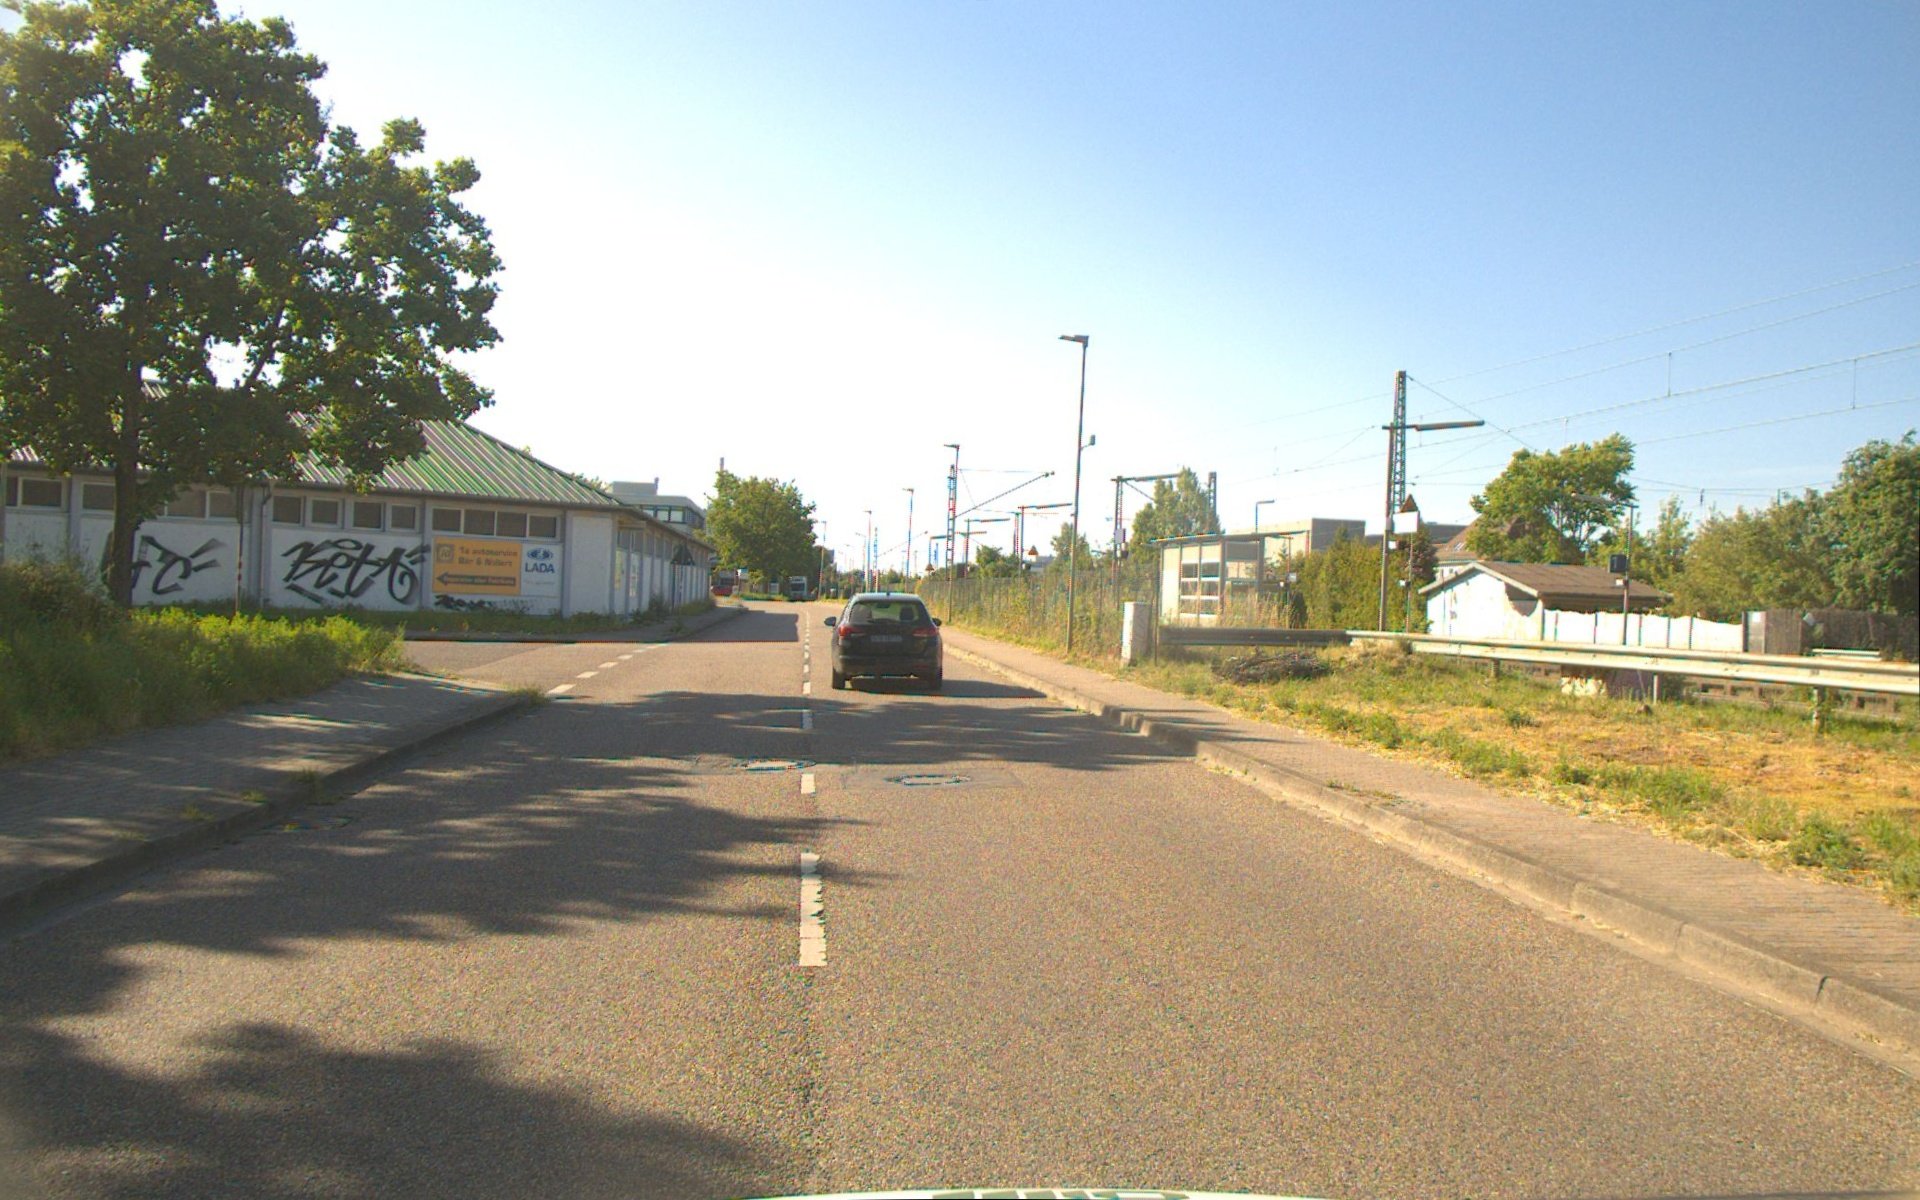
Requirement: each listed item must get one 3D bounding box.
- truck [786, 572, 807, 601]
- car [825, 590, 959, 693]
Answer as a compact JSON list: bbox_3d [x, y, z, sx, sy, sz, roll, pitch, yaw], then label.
[{"bbox_3d":[-23.903,-1.952,241.056,2.564,3.953,13.510,3,0,-7],"label":"truck"},{"bbox_3d":[-1.202,0.616,26.994,1.905,1.515,4.560,1,0,-6],"label":"car"}]
